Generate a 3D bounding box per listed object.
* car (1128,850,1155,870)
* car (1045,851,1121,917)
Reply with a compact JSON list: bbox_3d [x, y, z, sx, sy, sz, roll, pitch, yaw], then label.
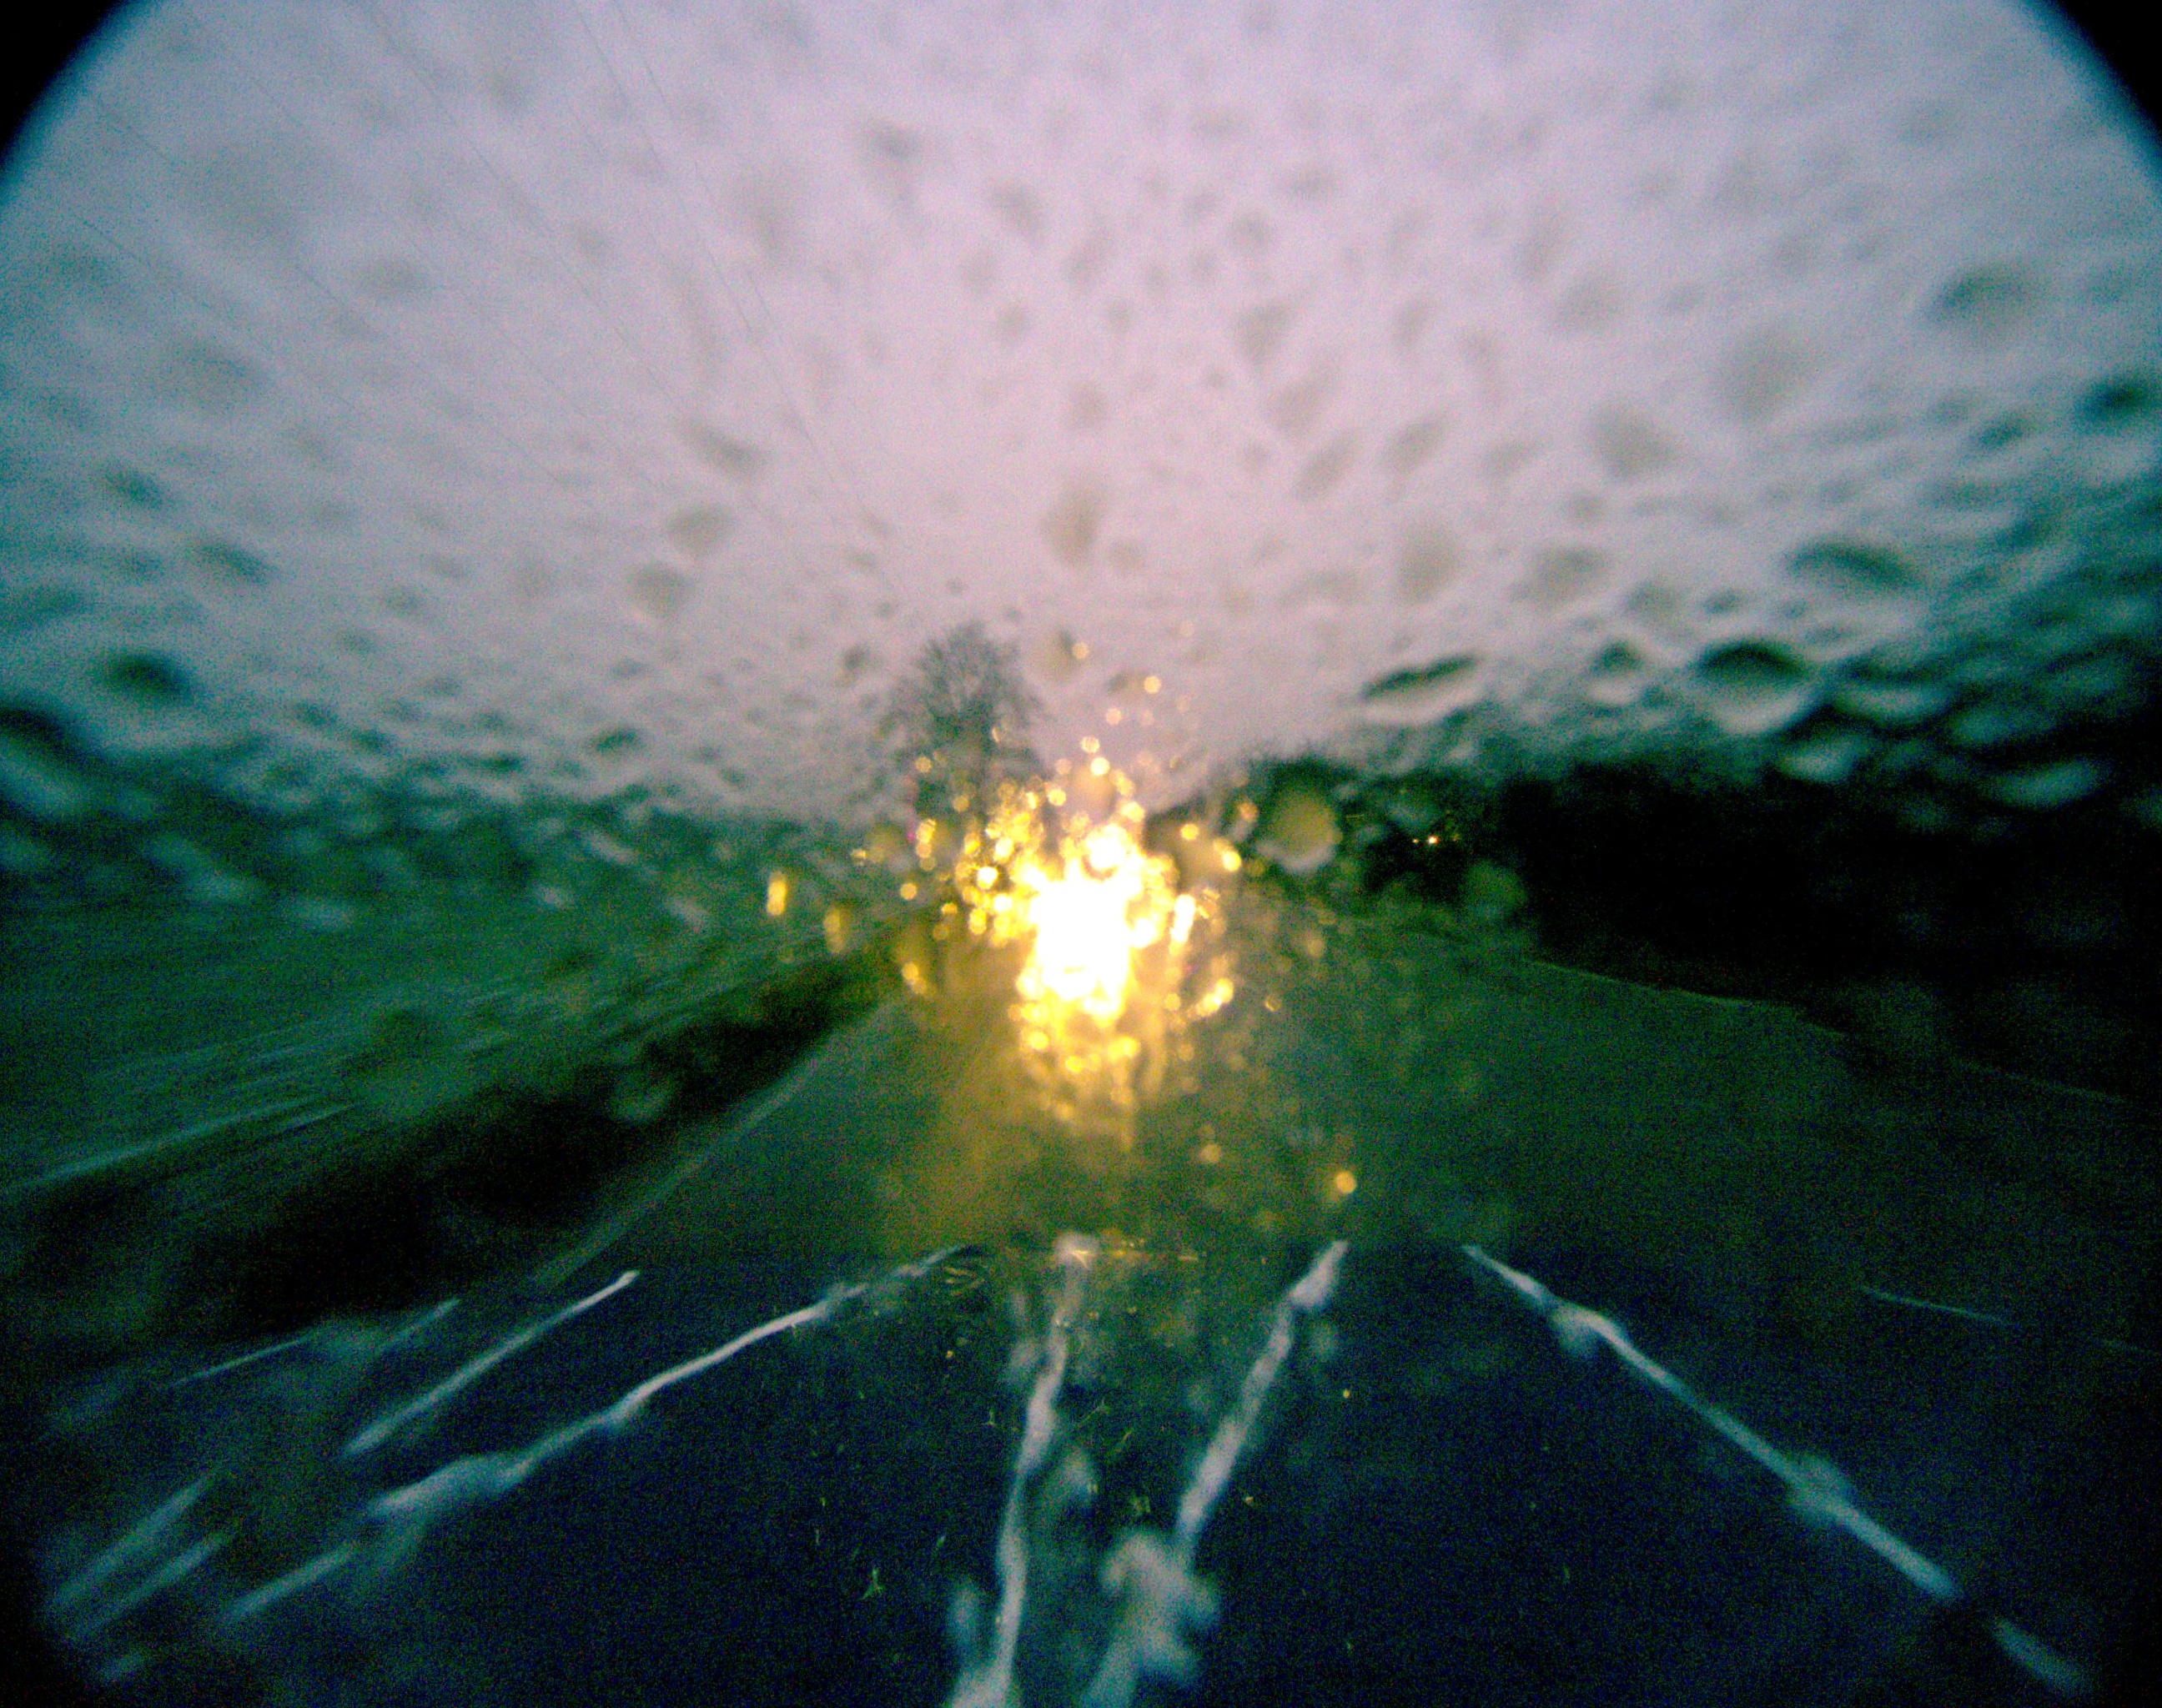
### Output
[{"bbox_3d":[4.761,0.467,60.384,1.812,1.528,4.407,-1,1,1],"label":"car"},{"bbox_3d":[0.157,0.796,22.147,1.910,1.653,4.001,-3,0,3],"label":"car"}]
